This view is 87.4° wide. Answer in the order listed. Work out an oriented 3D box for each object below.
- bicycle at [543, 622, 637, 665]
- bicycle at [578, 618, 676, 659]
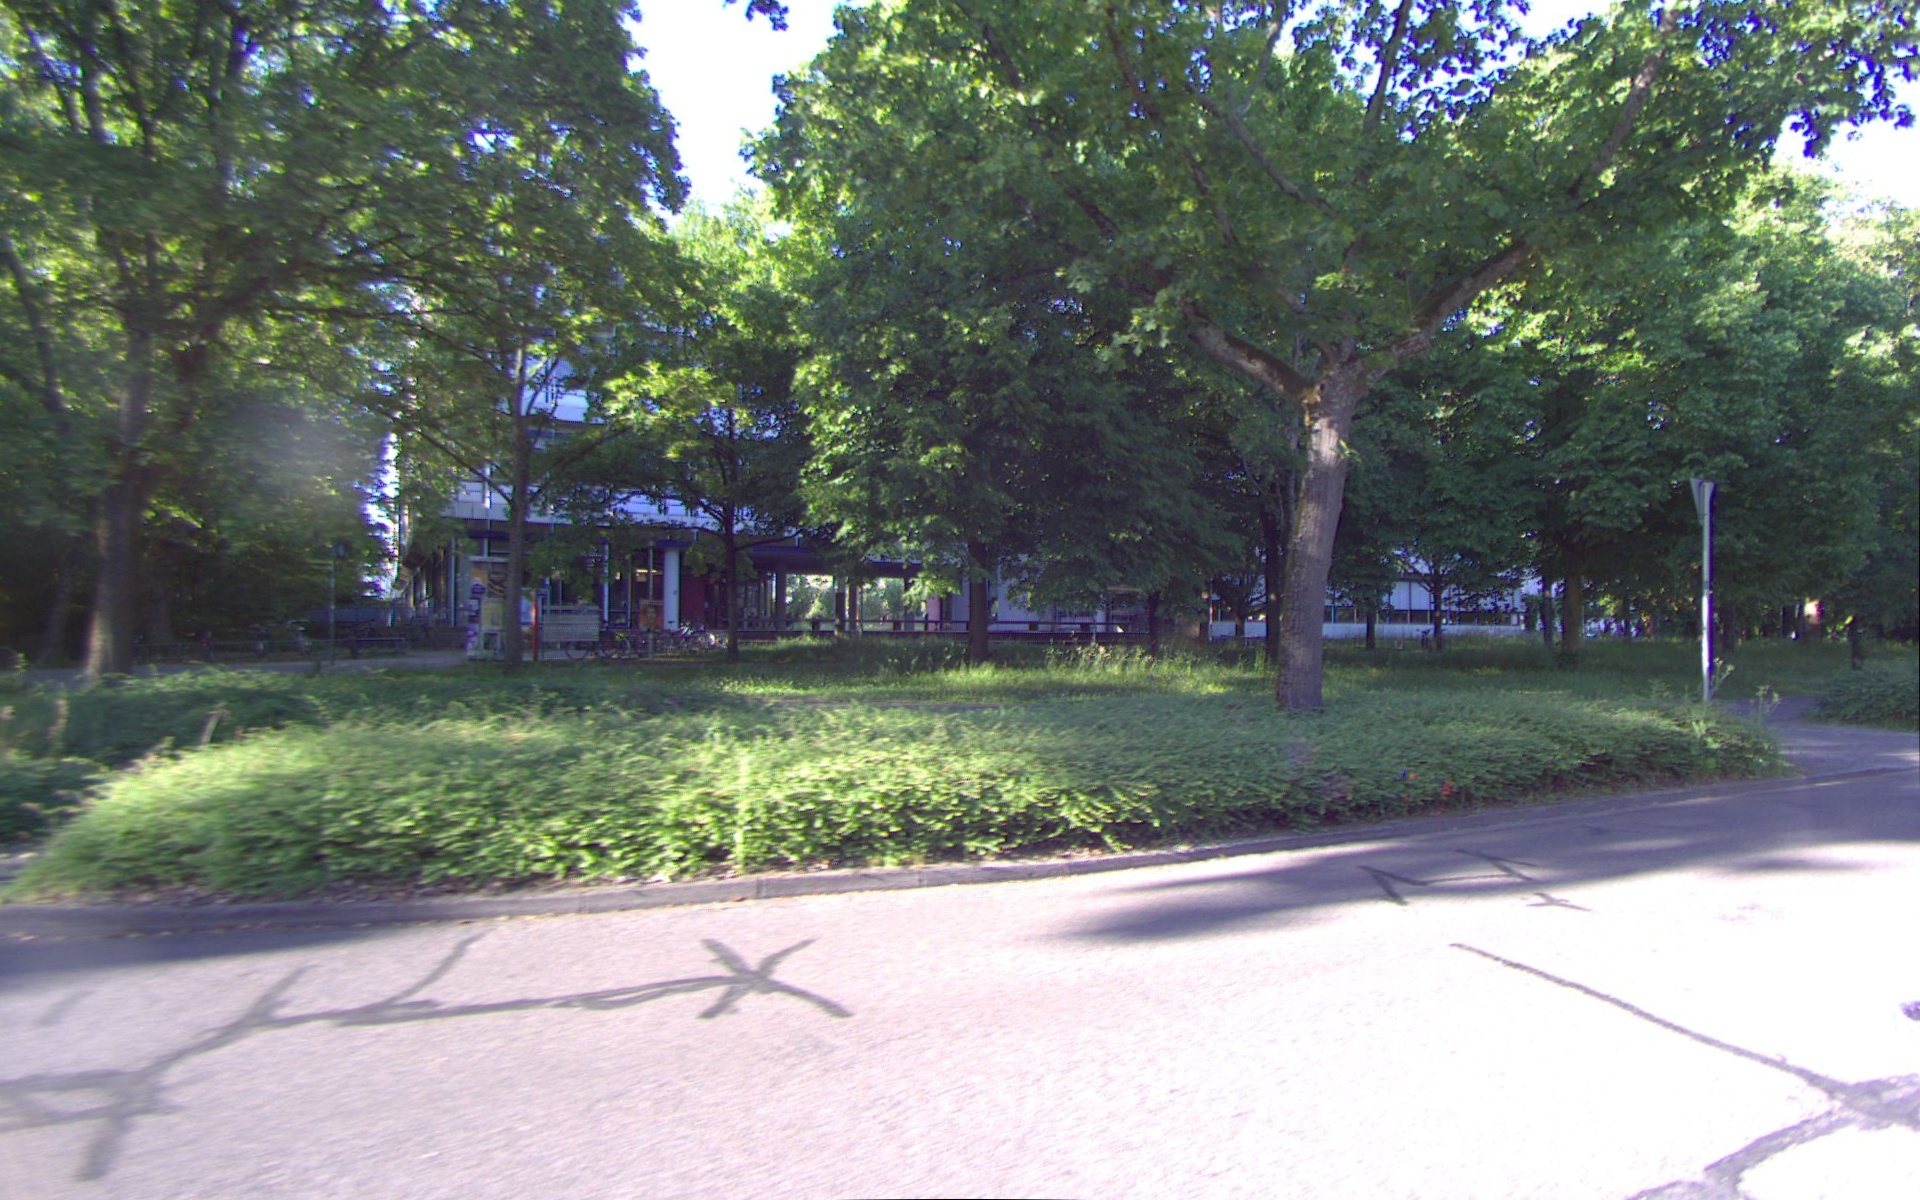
[{"bbox_3d":[-9.874,1.144,26.836,2.380,1.086,0.537,0,2,8],"label":"bicycle"},{"bbox_3d":[-9.317,1.078,28.190,2.590,1.086,0.535,0,3,-14],"label":"bicycle"}]
